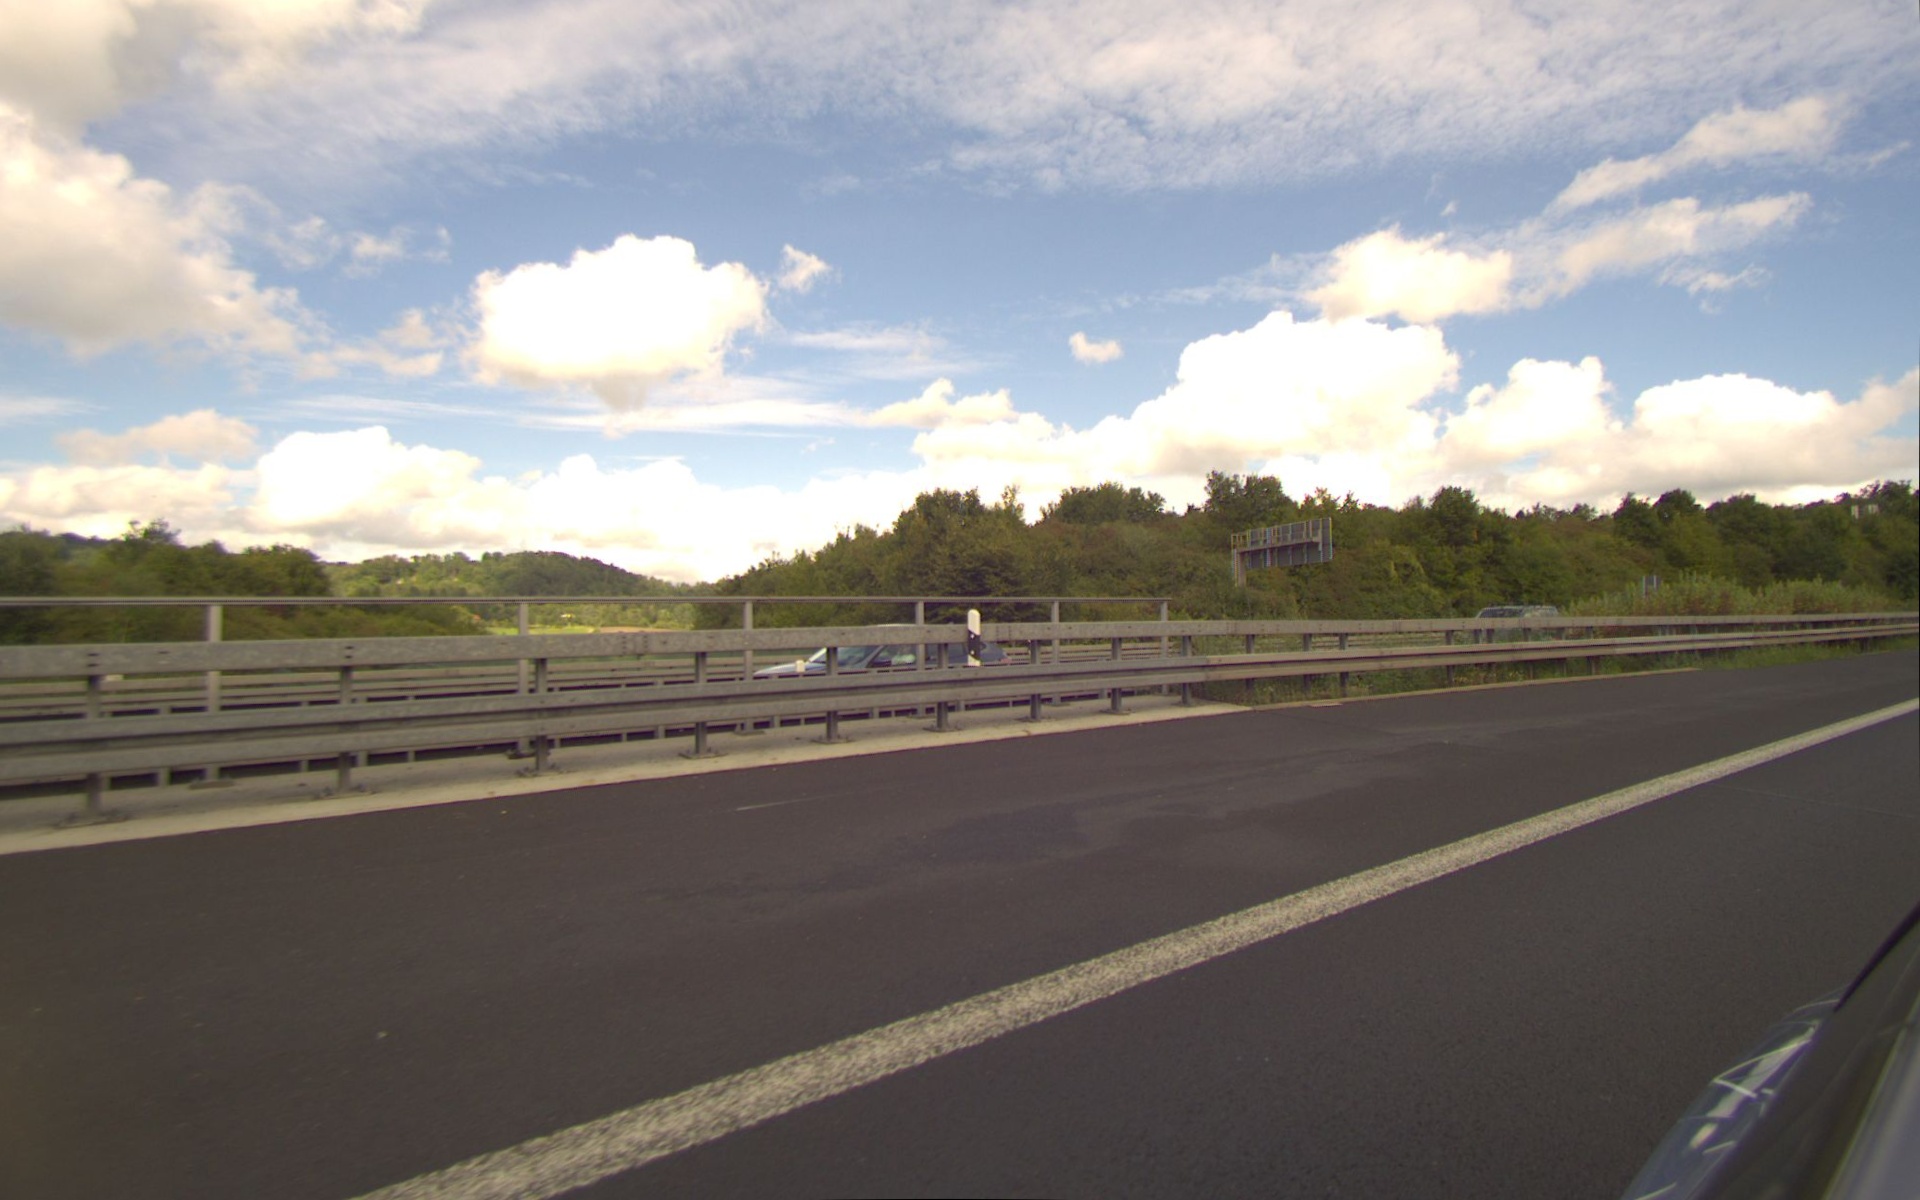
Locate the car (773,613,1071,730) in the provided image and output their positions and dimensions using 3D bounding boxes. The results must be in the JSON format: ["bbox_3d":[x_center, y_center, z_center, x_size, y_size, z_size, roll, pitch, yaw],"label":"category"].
[{"bbox_3d":[-0.500,1.009,16.090,4.591,1.538,1.788,0,0,-38],"label":"car"}]

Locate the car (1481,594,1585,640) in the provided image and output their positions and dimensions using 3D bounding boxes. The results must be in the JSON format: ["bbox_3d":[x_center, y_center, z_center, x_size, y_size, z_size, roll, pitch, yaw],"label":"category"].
[{"bbox_3d":[21.045,0.604,37.119,4.263,1.591,1.789,0,0,-37],"label":"car"}]
